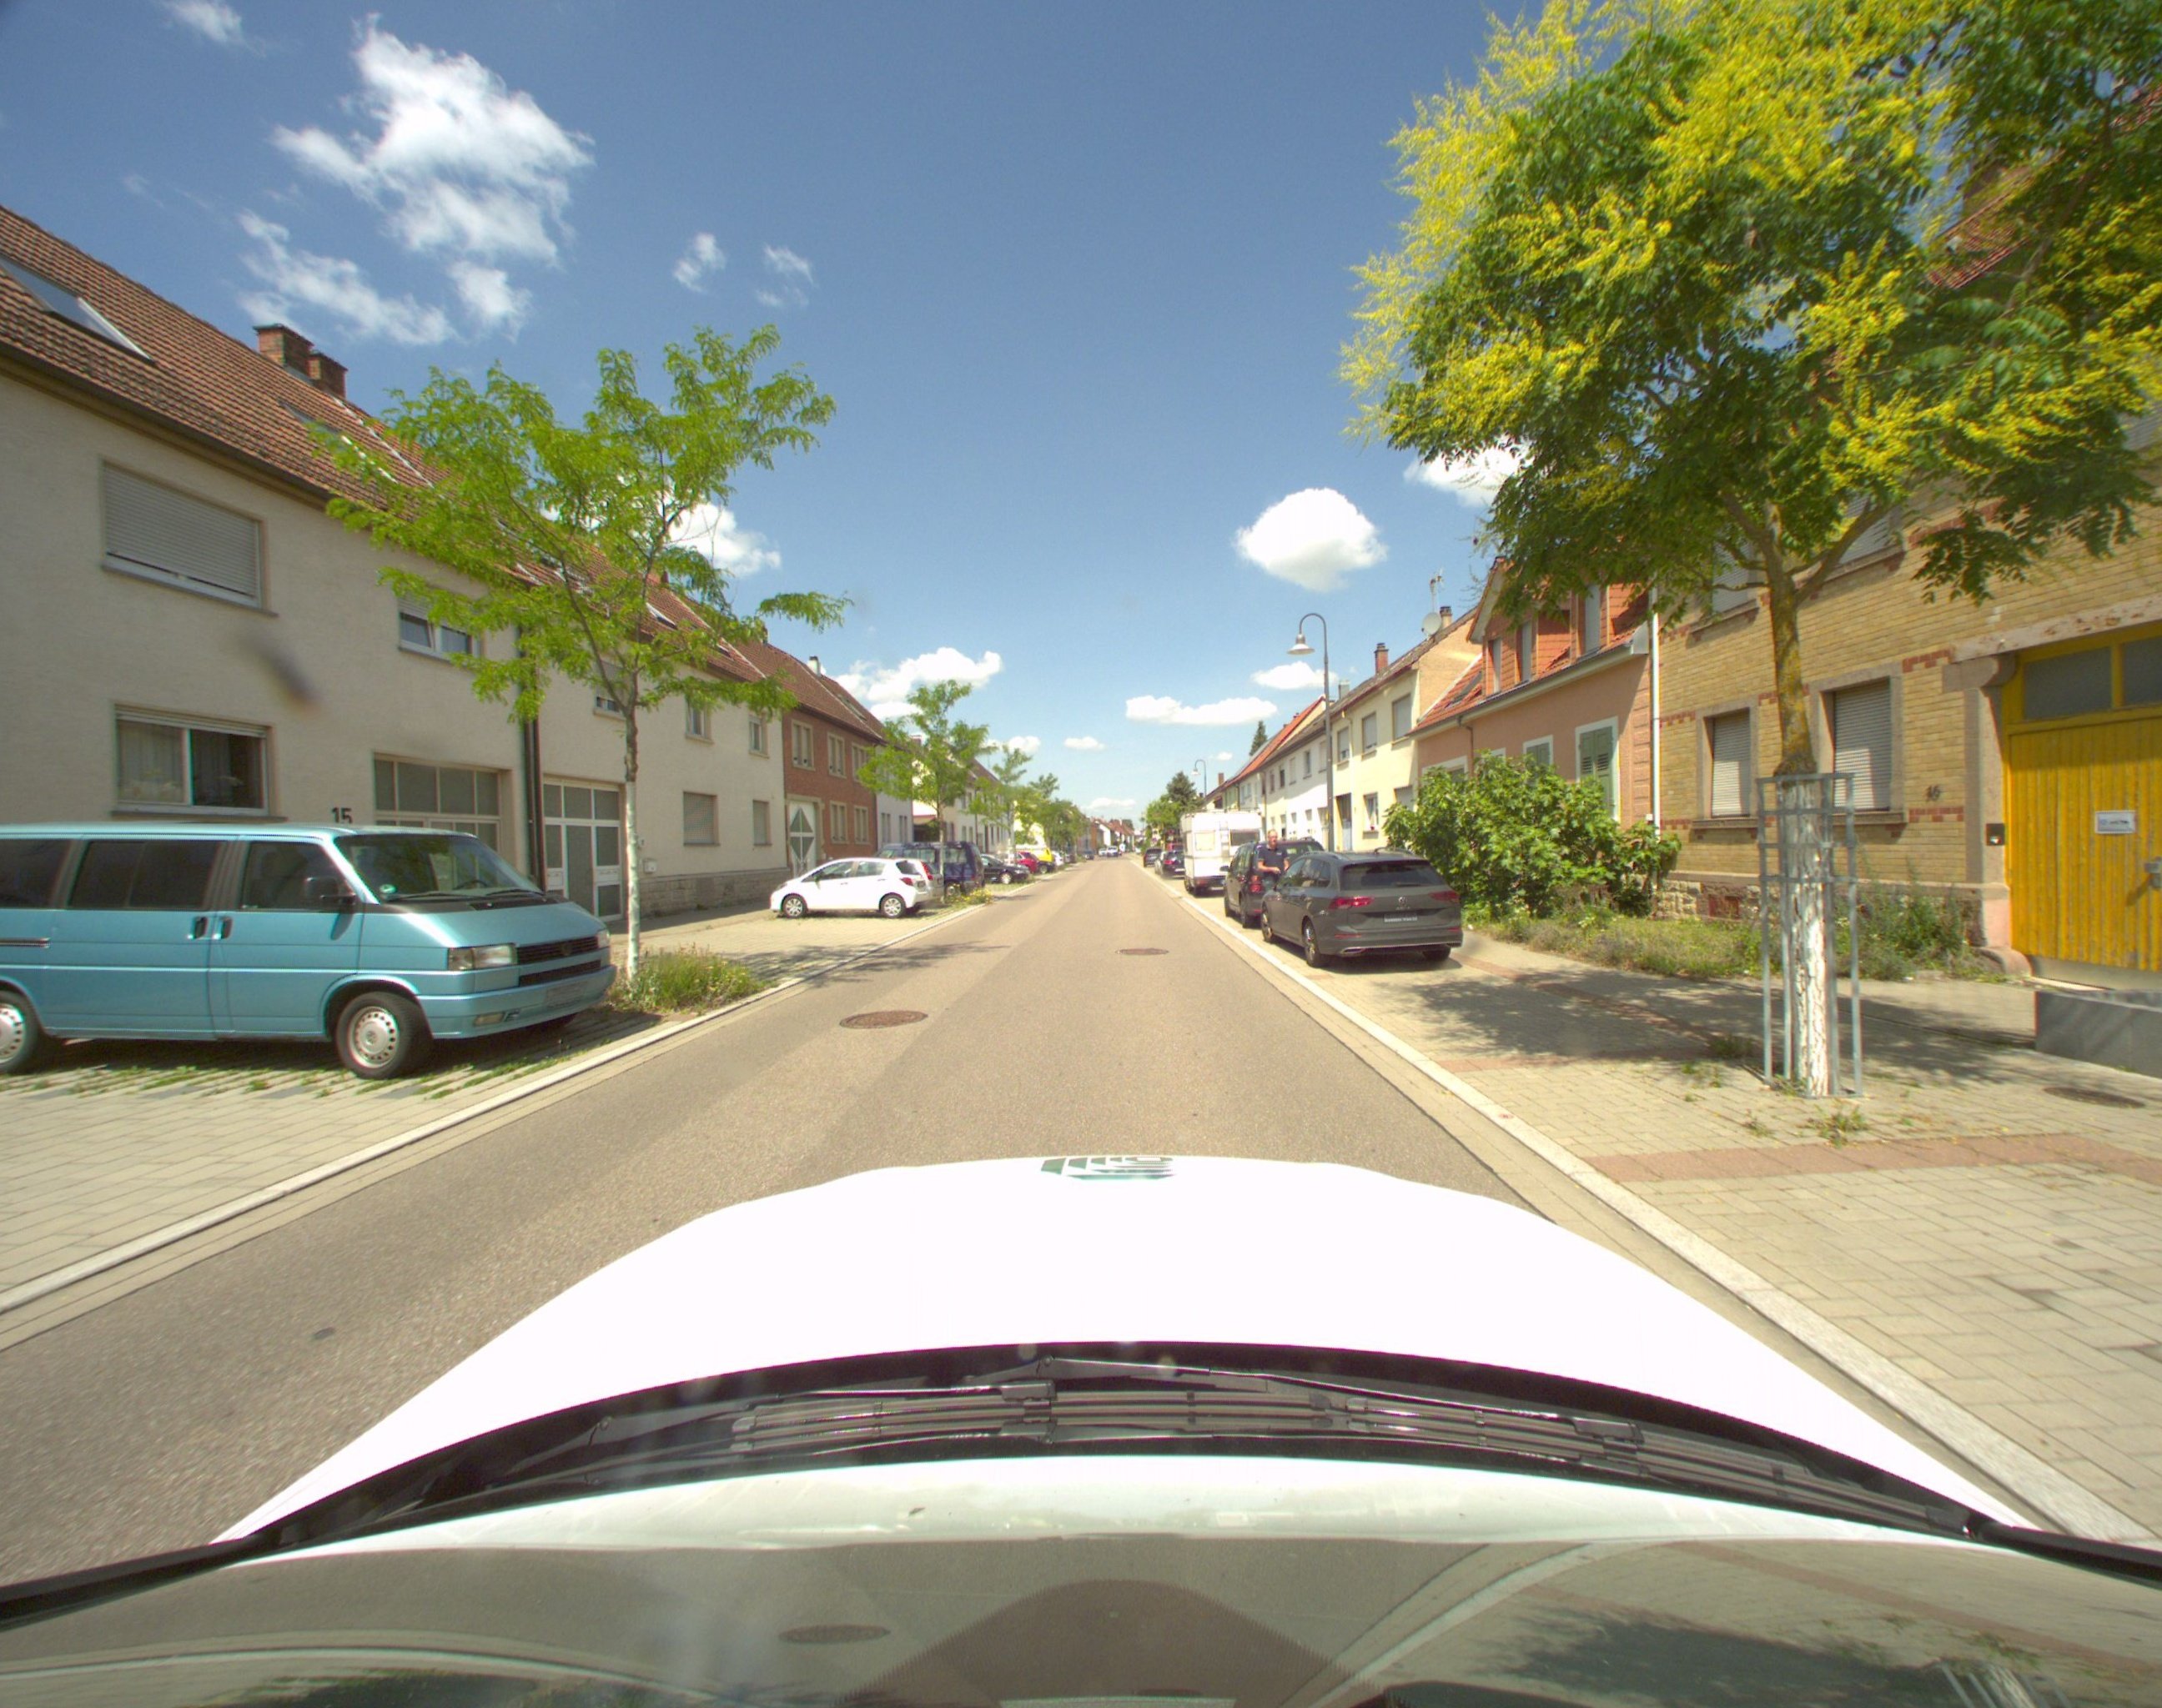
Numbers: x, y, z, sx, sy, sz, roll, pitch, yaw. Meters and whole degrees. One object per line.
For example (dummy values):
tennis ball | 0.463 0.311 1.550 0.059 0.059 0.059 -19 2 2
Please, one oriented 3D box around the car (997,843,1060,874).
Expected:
car | -3.925 0.310 61.397 4.491 2.177 1.926 -2 0 2

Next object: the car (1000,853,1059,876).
car | -3.693 0.749 58.852 3.994 1.459 1.756 -2 0 2

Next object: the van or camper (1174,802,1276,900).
van or camper | 4.677 -0.129 27.434 2.463 2.810 5.794 -4 0 2

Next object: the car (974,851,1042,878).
car | -4.767 0.698 53.487 4.237 1.611 1.843 -2 0 1

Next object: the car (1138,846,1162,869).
car | 5.911 0.274 69.613 1.855 1.635 4.452 -5 1 5

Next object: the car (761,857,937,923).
car | -5.831 0.886 20.775 3.898 1.488 1.775 -2 0 4

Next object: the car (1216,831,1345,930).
car | 3.948 0.468 16.846 1.759 1.705 4.328 -2 0 3

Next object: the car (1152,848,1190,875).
car | 5.447 0.442 49.624 1.826 1.465 4.520 -2 0 1

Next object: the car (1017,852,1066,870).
car | -3.560 0.631 73.927 4.276 1.468 1.776 -2 -1 4

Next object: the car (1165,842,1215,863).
car | 10.534 -0.122 79.219 4.602 1.893 2.021 -1 -1 1

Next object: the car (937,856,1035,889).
car | -4.646 0.904 40.317 4.506 1.425 1.797 -2 0 2

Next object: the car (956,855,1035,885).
car | -4.615 0.863 44.308 4.041 1.478 1.775 -2 0 -1

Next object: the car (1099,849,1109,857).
car | 5.054 -0.230 177.367 1.841 1.659 4.006 -1 0 5

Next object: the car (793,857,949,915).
car | -5.916 0.881 23.241 3.898 1.488 1.775 -2 0 4

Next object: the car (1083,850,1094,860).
car | 1.166 0.163 128.527 1.810 1.433 4.139 1 2 0

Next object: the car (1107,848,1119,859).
car | 5.703 -0.044 145.886 2.015 1.950 4.900 -3 0 2

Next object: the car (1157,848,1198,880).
car | 4.968 0.481 42.356 1.759 1.529 4.010 -2 0 3

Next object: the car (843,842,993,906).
car | -5.507 0.651 27.898 4.592 1.996 1.955 -2 0 4

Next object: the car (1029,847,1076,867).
car | -2.907 0.334 83.680 4.682 1.923 1.939 -1 -1 2

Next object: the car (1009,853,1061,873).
car | -3.763 0.710 65.909 4.067 1.468 1.750 -2 0 -6

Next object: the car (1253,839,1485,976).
car | 3.737 0.603 11.444 1.761 1.488 4.297 -2 0 1

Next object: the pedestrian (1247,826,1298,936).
pedestrian | 3.332 0.466 14.211 0.713 1.853 0.578 -2 0 2

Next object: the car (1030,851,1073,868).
car | -2.899 0.542 80.793 4.171 1.568 1.773 -1 0 -2

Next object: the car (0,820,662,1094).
car | -6.384 0.760 6.840 4.657 1.906 2.001 -1 0 2
